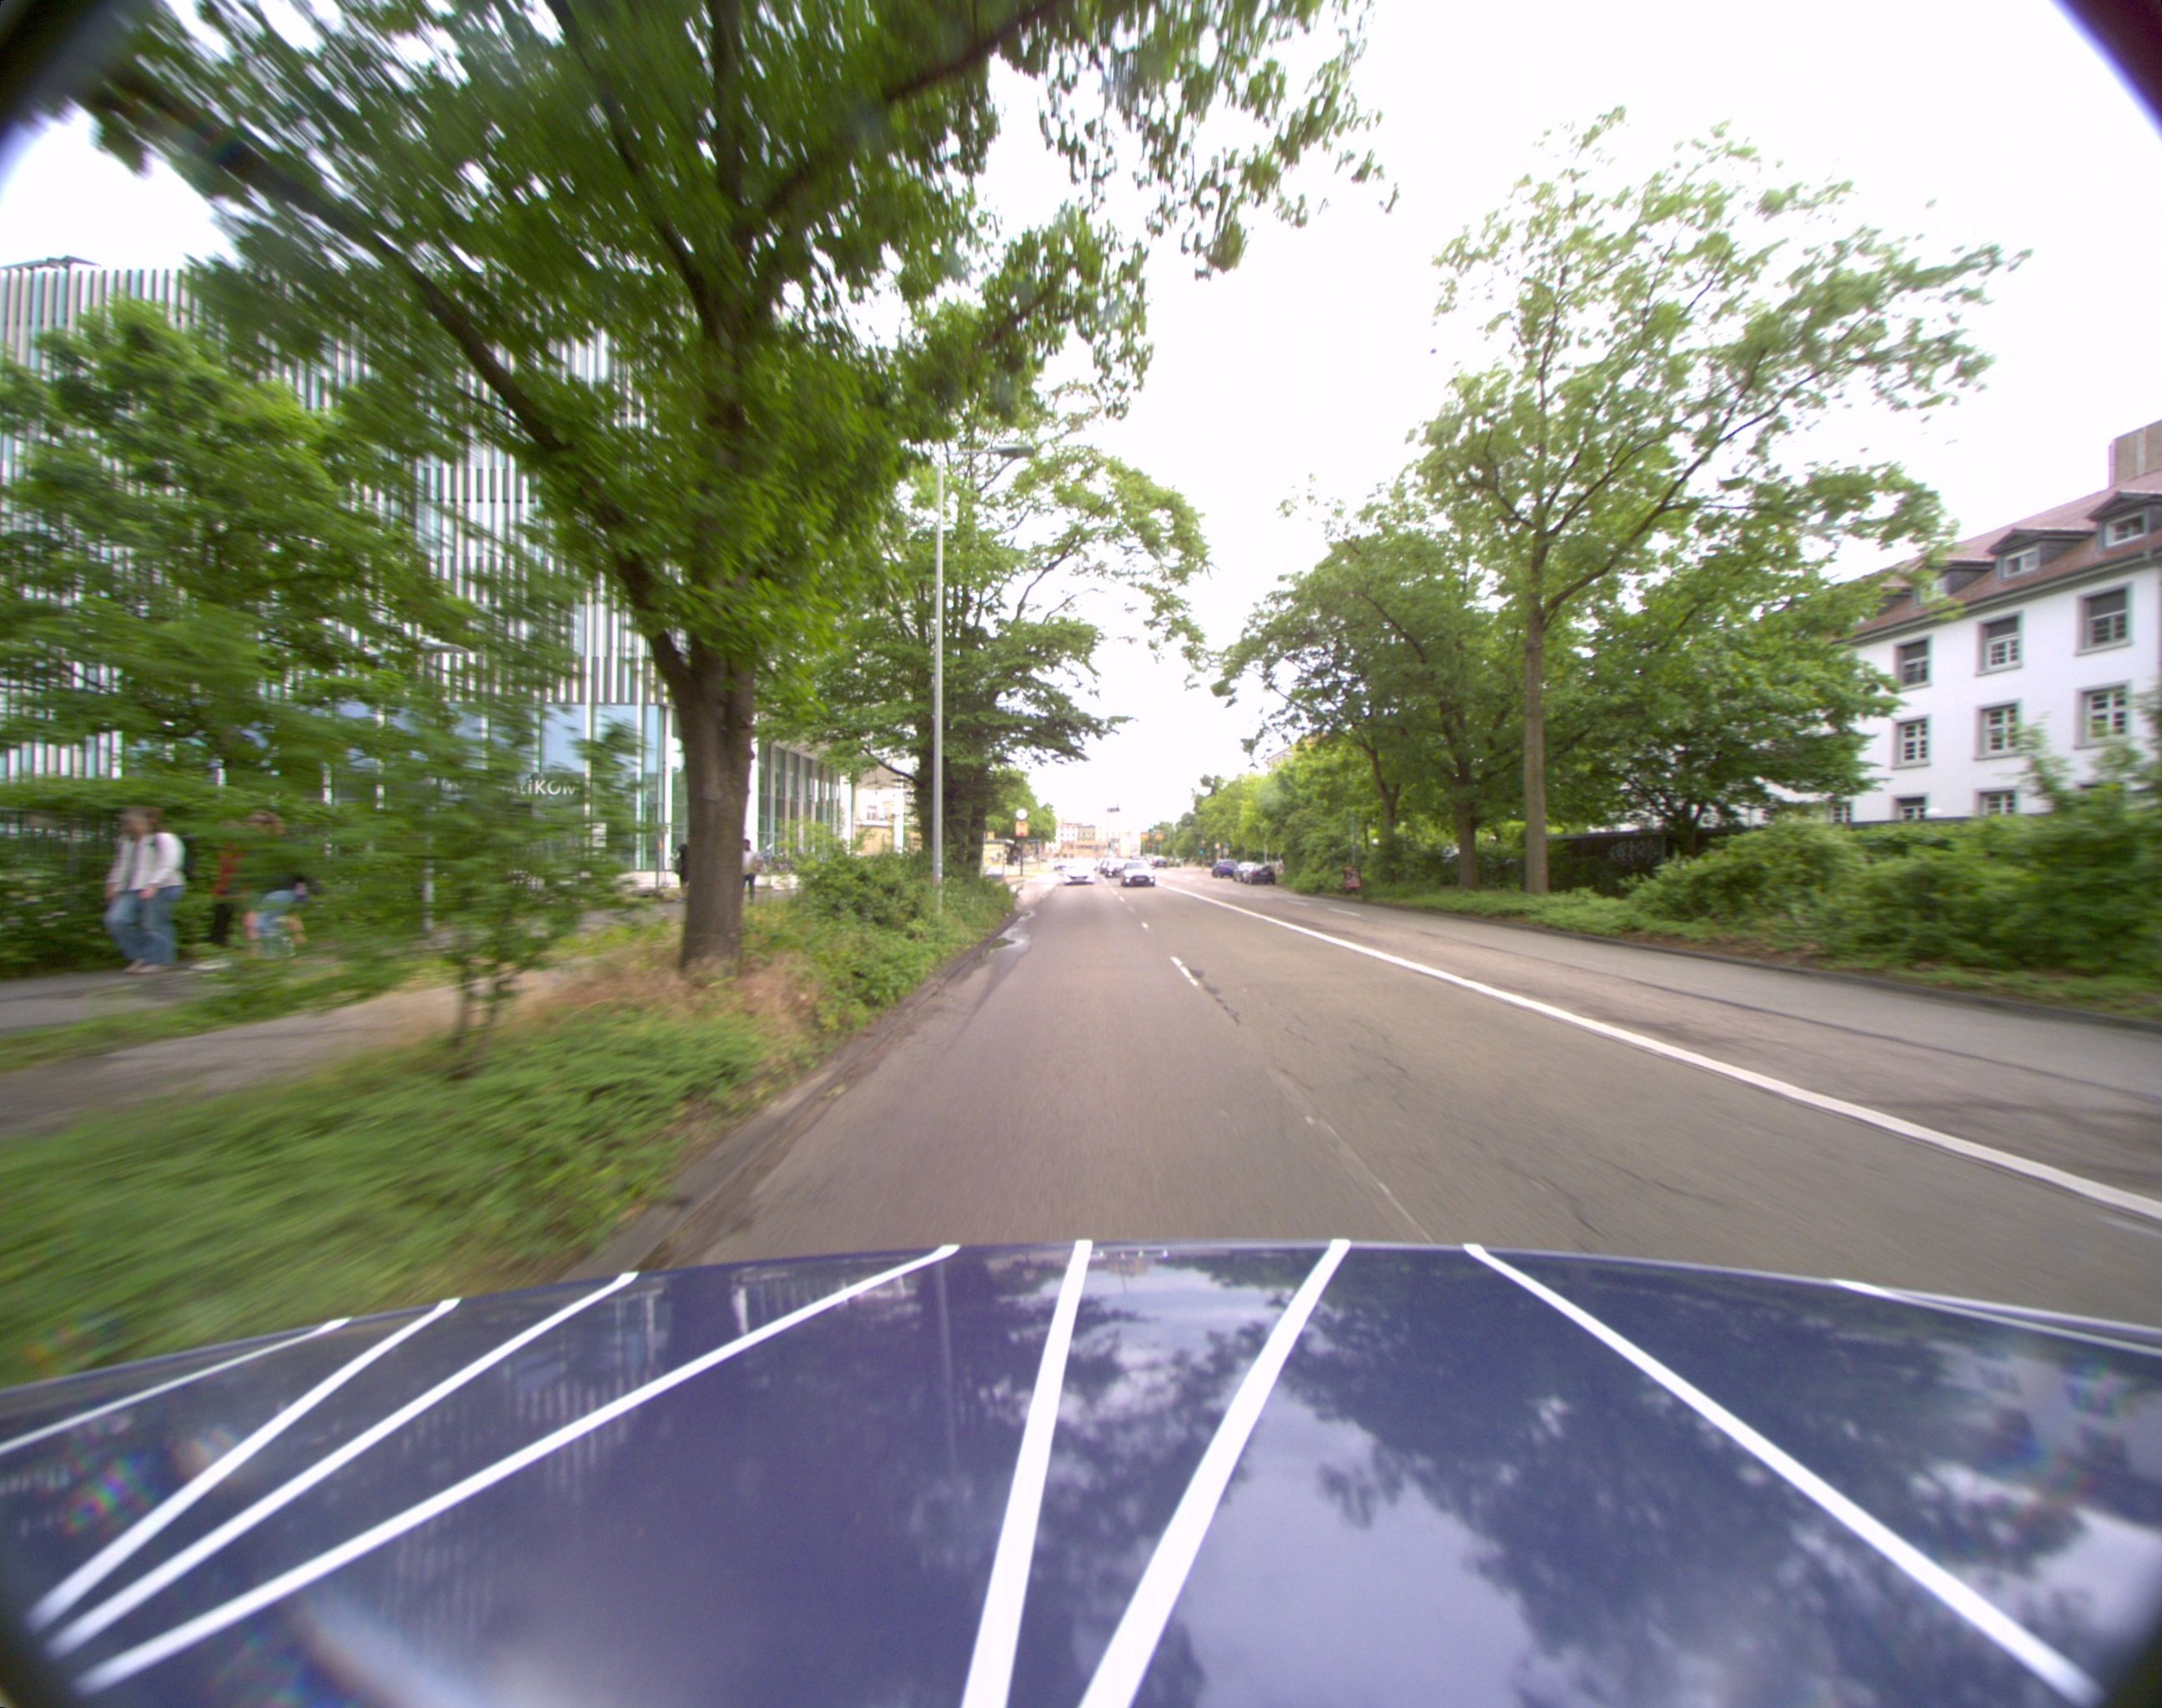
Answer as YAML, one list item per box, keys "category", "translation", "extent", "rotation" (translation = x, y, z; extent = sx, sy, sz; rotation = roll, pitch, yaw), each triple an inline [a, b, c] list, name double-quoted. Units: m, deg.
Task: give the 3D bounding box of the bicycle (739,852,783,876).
- category: "bicycle"
  translation: [-15.266, 0.474, 36.290]
  extent: [1.799, 1.075, 0.626]
  rotation: [3, 0, -1]

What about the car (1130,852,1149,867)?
- category: "car"
  translation: [6.751, 0.607, 87.800]
  extent: [1.907, 1.584, 4.516]
  rotation: [1, 0, 0]

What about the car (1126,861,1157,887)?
- category: "car"
  translation: [3.325, 1.092, 42.082]
  extent: [1.624, 1.310, 3.706]
  rotation: [1, 0, 4]

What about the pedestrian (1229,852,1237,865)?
- category: "pedestrian"
  translation: [21.504, 0.684, 107.727]
  extent: [0.897, 1.793, 0.935]
  rotation: [2, 1, -3]

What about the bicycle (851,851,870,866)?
- category: "bicycle"
  translation: [-15.724, 0.329, 54.115]
  extent: [1.200, 1.043, 0.434]
  rotation: [2, 1, 7]

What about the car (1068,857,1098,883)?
- category: "car"
  translation: [0.164, 0.981, 47.724]
  extent: [1.813, 1.532, 4.000]
  rotation: [1, 0, 1]

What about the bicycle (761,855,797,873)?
- category: "bicycle"
  translation: [-15.566, 0.515, 39.119]
  extent: [1.610, 0.869, 0.556]
  rotation: [2, 0, 1]

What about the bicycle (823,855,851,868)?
- category: "bicycle"
  translation: [-15.203, 0.472, 47.327]
  extent: [1.564, 0.712, 0.556]
  rotation: [2, 0, 1]

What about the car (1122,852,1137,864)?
- category: "car"
  translation: [7.145, 0.576, 112.766]
  extent: [1.998, 1.538, 4.179]
  rotation: [2, 0, 0]

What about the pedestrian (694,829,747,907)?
- category: "pedestrian"
  translation: [-9.441, 0.359, 19.945]
  extent: [0.928, 2.002, 1.039]
  rotation: [1, 1, -4]

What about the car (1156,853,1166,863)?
- category: "car"
  translation: [15.498, 0.822, 147.531]
  extent: [1.775, 1.837, 4.491]
  rotation: [-1, 0, 7]

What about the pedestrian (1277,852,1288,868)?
- category: "pedestrian"
  translation: [25.530, 0.787, 96.343]
  extent: [0.796, 2.002, 1.095]
  rotation: [1, 1, -16]

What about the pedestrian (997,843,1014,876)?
- category: "pedestrian"
  translation: [-4.704, 0.343, 47.325]
  extent: [0.914, 2.001, 0.854]
  rotation: [2, -1, -1]

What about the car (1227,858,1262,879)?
- category: "car"
  translation: [12.288, 1.091, 57.277]
  extent: [1.878, 1.416, 4.729]
  rotation: [-2, 0, 4]

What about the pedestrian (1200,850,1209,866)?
- category: "pedestrian"
  translation: [15.763, 0.540, 96.828]
  extent: [0.896, 2.002, 1.009]
  rotation: [1, 1, -1]

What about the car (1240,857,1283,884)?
- category: "car"
  translation: [12.128, 1.099, 51.262]
  extent: [1.998, 1.680, 4.000]
  rotation: [-1, 0, 0]

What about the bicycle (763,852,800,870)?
- category: "bicycle"
  translation: [-15.095, 0.359, 38.283]
  extent: [1.610, 0.869, 0.556]
  rotation: [2, 0, 1]

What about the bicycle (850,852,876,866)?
- category: "bicycle"
  translation: [-14.969, 0.349, 52.104]
  extent: [1.610, 0.869, 0.556]
  rotation: [2, 0, 1]

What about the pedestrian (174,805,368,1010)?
- category: "pedestrian"
  translation: [-8.456, 0.531, 7.993]
  extent: [0.928, 2.002, 1.039]
  rotation: [1, 1, -4]

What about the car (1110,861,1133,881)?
- category: "car"
  translation: [3.277, 1.317, 60.385]
  extent: [1.731, 1.450, 4.001]
  rotation: [1, 0, 4]

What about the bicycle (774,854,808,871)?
- category: "bicycle"
  translation: [-15.579, 0.459, 40.854]
  extent: [1.610, 0.869, 0.556]
  rotation: [2, 0, 1]

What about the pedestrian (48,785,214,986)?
- category: "pedestrian"
  translation: [-9.943, 0.314, 7.982]
  extent: [0.826, 2.002, 0.720]
  rotation: [1, 1, 0]

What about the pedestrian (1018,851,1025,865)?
- category: "pedestrian"
  translation: [-8.431, 0.583, 107.264]
  extent: [0.844, 2.002, 0.894]
  rotation: [1, 1, 2]

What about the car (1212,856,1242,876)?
- category: "car"
  translation: [12.627, 1.008, 65.970]
  extent: [1.863, 1.598, 4.593]
  rotation: [-1, 0, 2]

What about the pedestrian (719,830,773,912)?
- category: "pedestrian"
  translation: [-8.459, 0.413, 19.255]
  extent: [0.928, 2.002, 1.039]
  rotation: [1, 1, -4]

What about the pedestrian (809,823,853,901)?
- category: "pedestrian"
  translation: [-6.598, 0.216, 20.095]
  extent: [0.844, 2.002, 0.894]
  rotation: [1, 1, 2]

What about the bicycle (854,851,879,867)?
- category: "bicycle"
  translation: [-15.515, 0.347, 54.985]
  extent: [1.648, 1.095, 0.572]
  rotation: [3, 1, 4]

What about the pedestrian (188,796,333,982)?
- category: "pedestrian"
  translation: [-9.294, 0.379, 8.641]
  extent: [0.826, 2.002, 0.720]
  rotation: [2, 1, 0]
